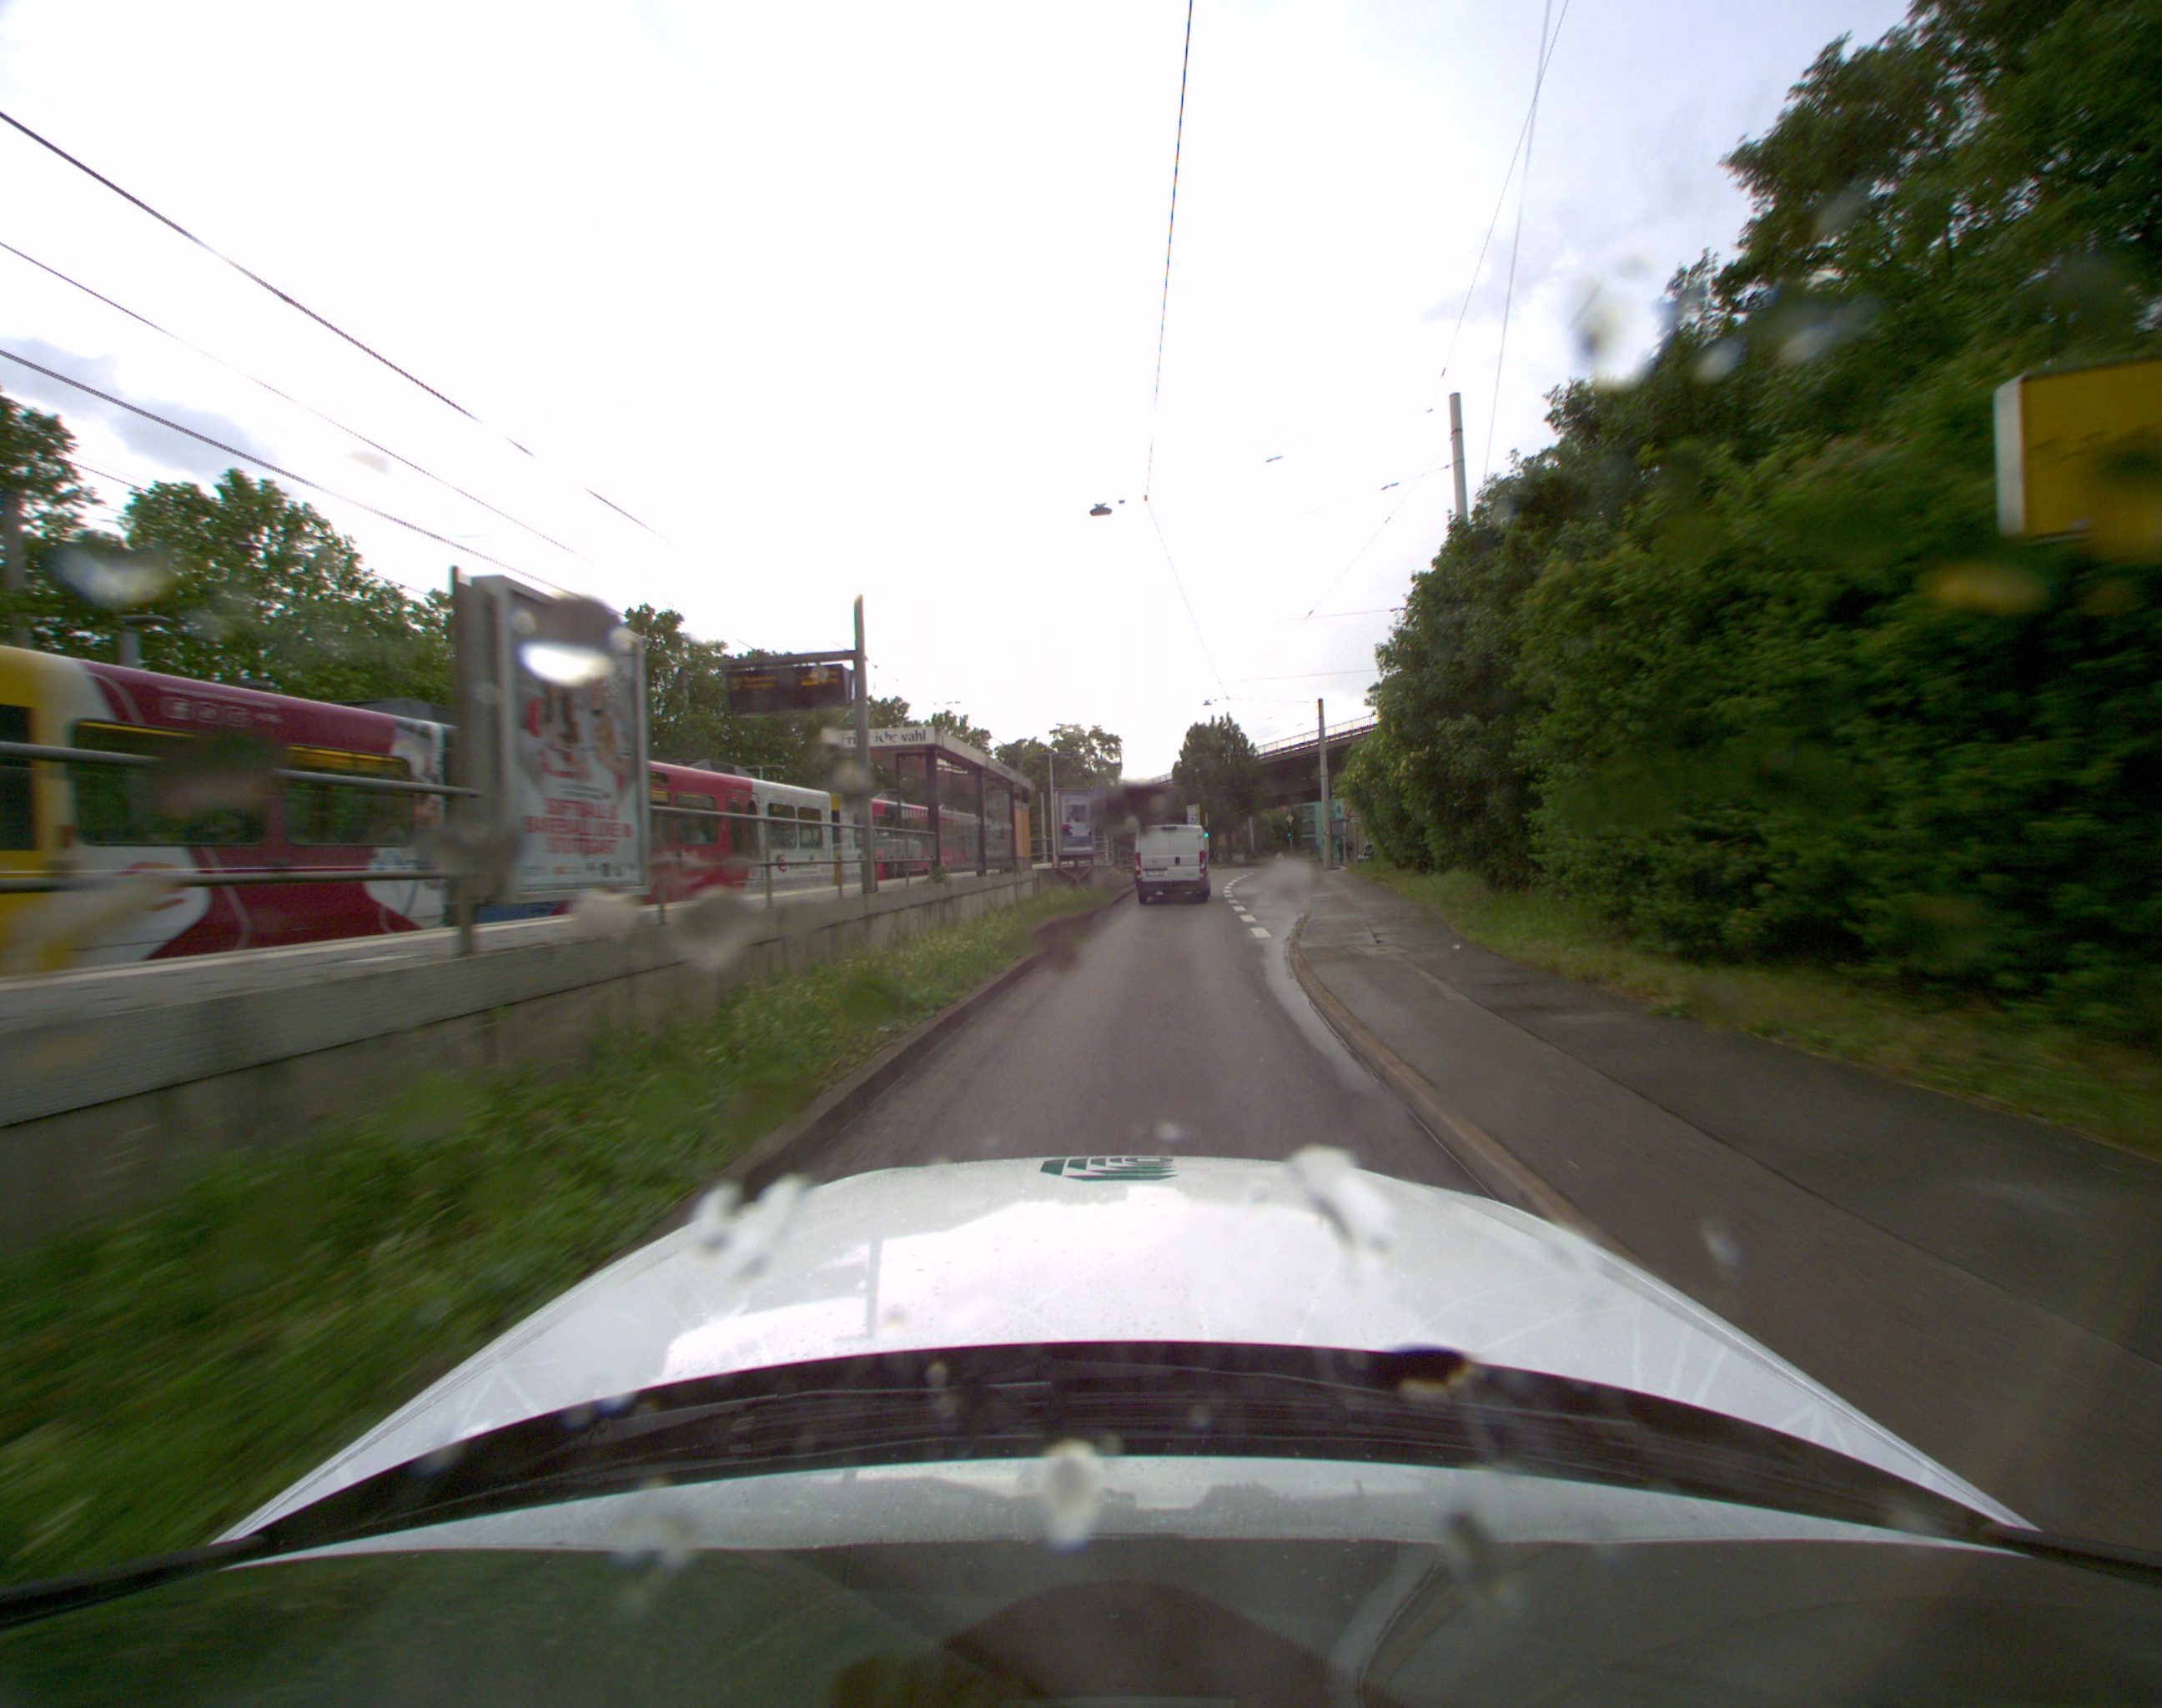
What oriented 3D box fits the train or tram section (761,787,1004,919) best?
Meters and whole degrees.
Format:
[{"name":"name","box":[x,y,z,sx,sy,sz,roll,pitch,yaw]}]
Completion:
[{"name":"train or tram section","box":[-6.905,0.050,34.158,2.852,3.961,19.374,0,0,8]}]

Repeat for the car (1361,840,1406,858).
[{"name":"car","box":[28.305,-0.459,76.230,3.738,1.522,1.790,-1,-1,-22]}]

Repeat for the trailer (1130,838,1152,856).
[{"name":"trailer","box":[9.165,-1.046,125.089,1.998,2.725,4.099,-1,-1,-17]}]

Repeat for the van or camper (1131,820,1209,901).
[{"name":"van or camper","box":[2.856,0.197,25.159,2.186,2.253,4.695,0,-1,9]}]

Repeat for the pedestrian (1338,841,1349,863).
[{"name":"pedestrian","box":[21.313,-0.144,66.158,0.623,1.808,0.837,0,-1,4]}]

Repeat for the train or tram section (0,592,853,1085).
[{"name":"train or tram section","box":[-9.288,-0.059,15.024,2.854,3.971,19.361,0,0,6]}]

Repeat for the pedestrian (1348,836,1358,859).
[{"name":"pedestrian","box":[21.992,-0.542,65.886,0.594,1.822,0.911,0,-1,5]}]
